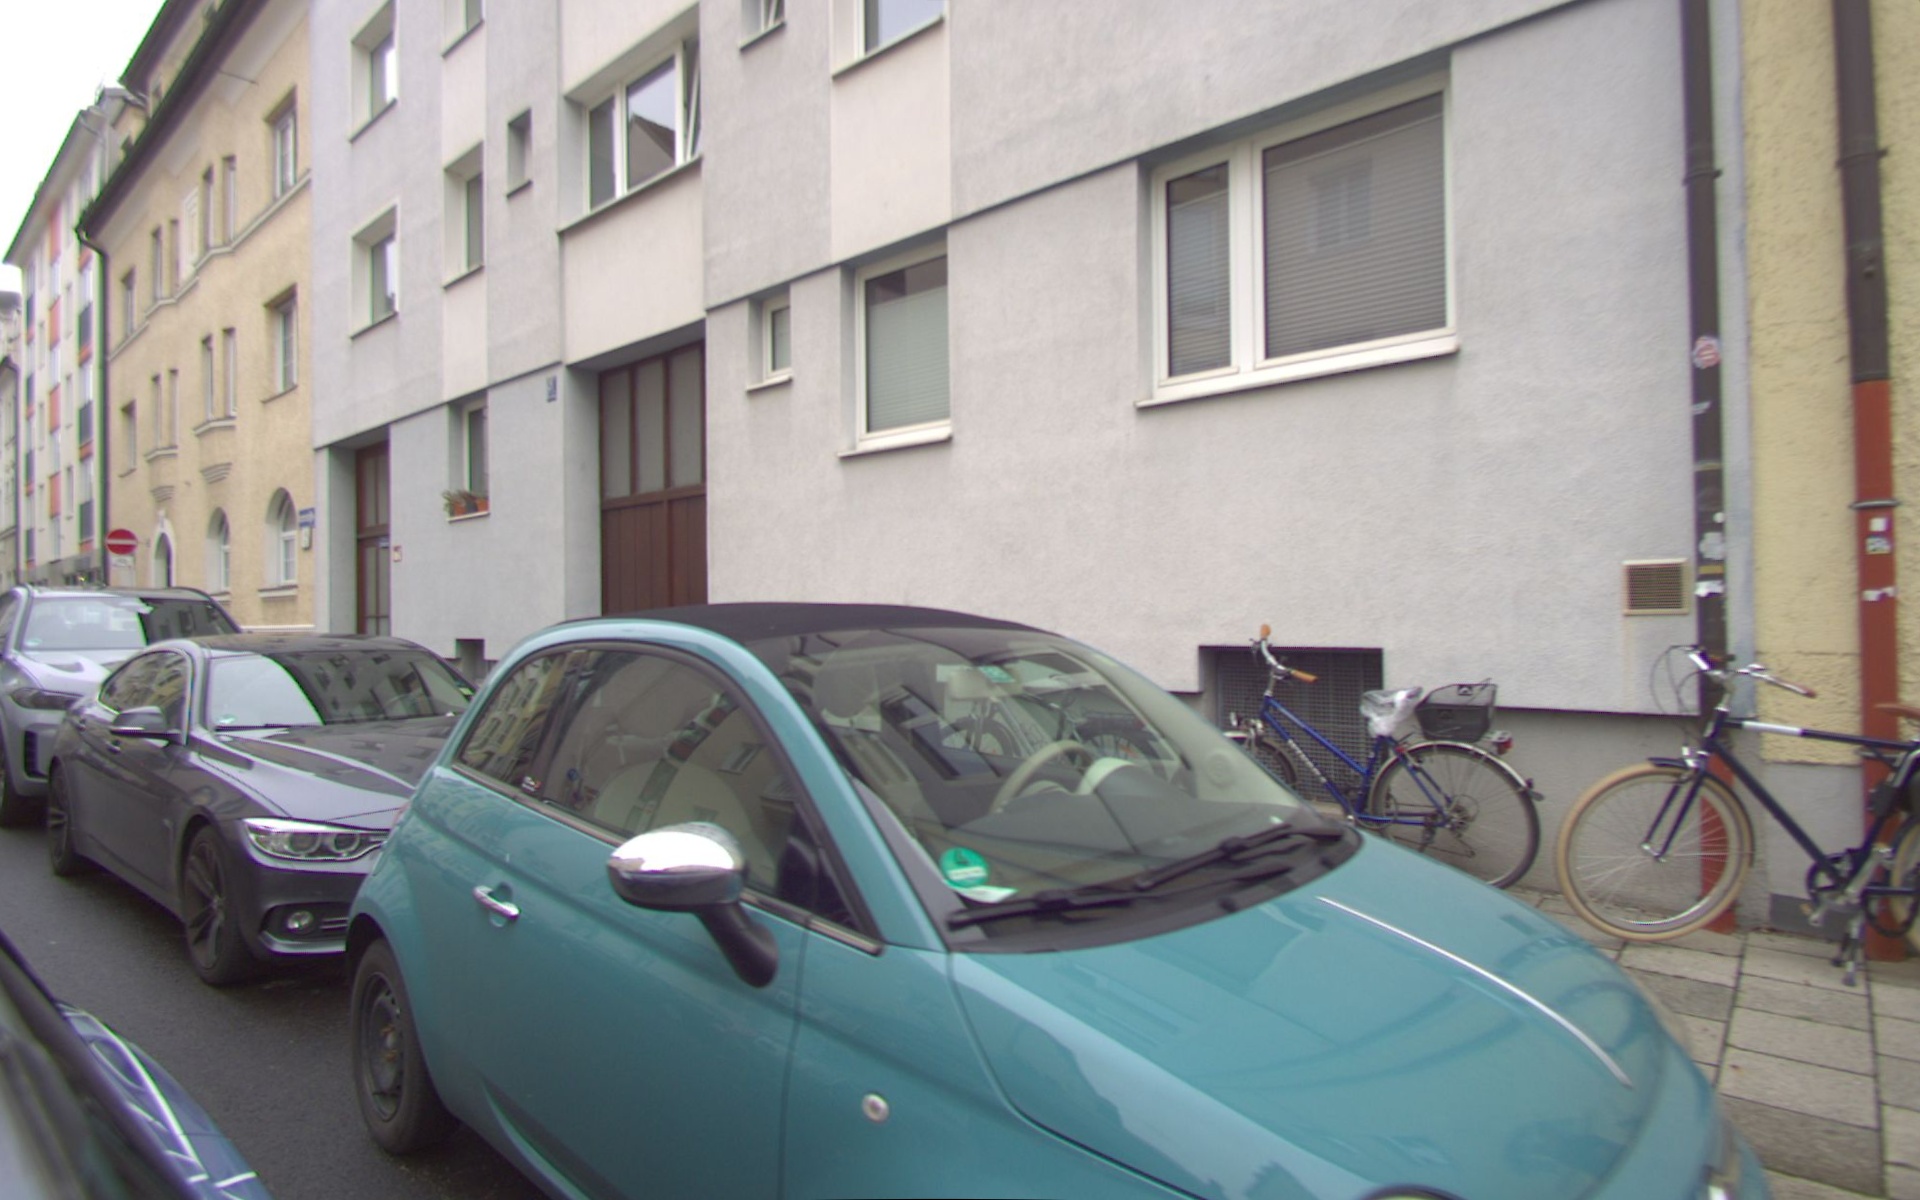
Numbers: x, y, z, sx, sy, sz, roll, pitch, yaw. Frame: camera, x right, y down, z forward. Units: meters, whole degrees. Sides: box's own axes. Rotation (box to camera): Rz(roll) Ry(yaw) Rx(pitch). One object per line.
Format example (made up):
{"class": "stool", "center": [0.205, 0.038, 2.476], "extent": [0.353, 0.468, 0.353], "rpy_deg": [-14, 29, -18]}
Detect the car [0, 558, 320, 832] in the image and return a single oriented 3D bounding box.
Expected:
{"class": "car", "center": [-7.484, 0.717, 8.801], "extent": [4.731, 1.783, 1.844], "rpy_deg": [-2, -3, 40]}

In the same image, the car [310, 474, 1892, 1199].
{"class": "car", "center": [-0.134, 0.694, 2.370], "extent": [3.404, 1.471, 1.546], "rpy_deg": [-1, -2, 43]}

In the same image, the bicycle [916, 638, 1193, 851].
{"class": "bicycle", "center": [0.504, 0.760, 5.850], "extent": [1.569, 1.038, 0.539], "rpy_deg": [-1, 0, 41]}

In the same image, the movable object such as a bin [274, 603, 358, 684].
{"class": "movable object such as a bin", "center": [-9.085, 0.596, 14.290], "extent": [0.622, 1.059, 0.799], "rpy_deg": [-1, 3, 40]}

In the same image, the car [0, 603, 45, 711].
{"class": "car", "center": [-17.812, 0.941, 18.113], "extent": [4.249, 1.802, 1.705], "rpy_deg": [0, -2, 43]}

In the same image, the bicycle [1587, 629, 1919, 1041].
{"class": "bicycle", "center": [3.152, 0.732, 3.355], "extent": [1.735, 1.243, 0.630], "rpy_deg": [-1, 0, 41]}

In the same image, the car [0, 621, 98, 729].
{"class": "car", "center": [-14.017, 1.052, 14.751], "extent": [3.732, 1.422, 1.635], "rpy_deg": [-2, -4, 41]}

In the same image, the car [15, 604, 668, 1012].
{"class": "car", "center": [-3.606, 0.808, 5.559], "extent": [4.247, 1.397, 1.793], "rpy_deg": [-2, -4, 40]}

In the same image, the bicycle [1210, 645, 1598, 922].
{"class": "bicycle", "center": [1.958, 0.749, 4.627], "extent": [1.569, 1.038, 0.391], "rpy_deg": [-1, 0, 41]}
